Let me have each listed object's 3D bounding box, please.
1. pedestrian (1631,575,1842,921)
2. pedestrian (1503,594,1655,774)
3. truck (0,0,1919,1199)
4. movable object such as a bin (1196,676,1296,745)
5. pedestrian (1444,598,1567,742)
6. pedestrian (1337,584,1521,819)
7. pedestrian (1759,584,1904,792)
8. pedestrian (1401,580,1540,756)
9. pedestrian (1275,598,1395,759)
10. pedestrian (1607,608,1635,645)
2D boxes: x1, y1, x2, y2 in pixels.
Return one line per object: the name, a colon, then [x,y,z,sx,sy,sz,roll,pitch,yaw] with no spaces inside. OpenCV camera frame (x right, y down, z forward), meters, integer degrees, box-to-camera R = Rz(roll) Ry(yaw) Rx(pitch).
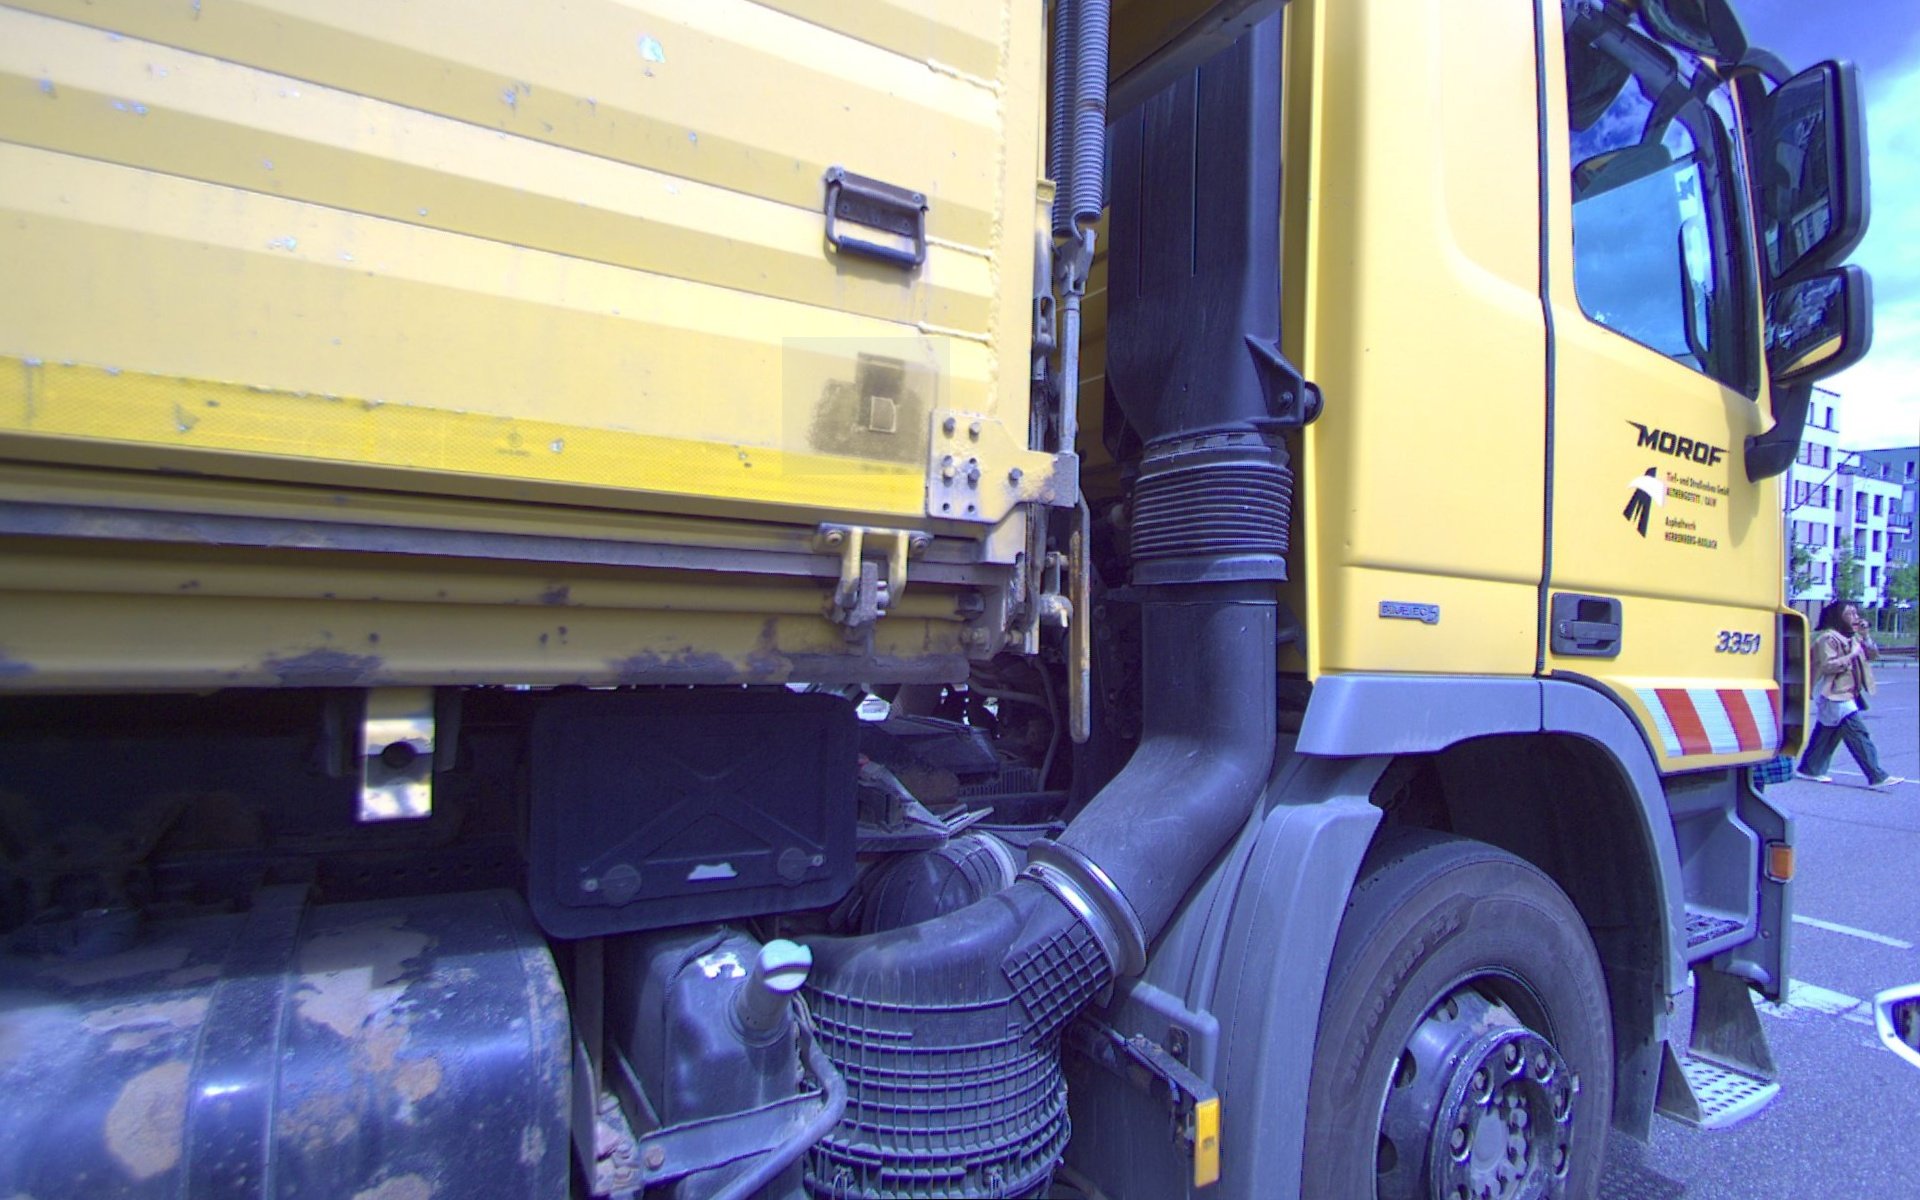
pedestrian: [4.223,0.725,5.466,0.814,1.693,0.729,1,0,45]
pedestrian: [5.974,0.766,9.720,0.918,1.628,0.908,1,0,-29]
truck: [-1.724,-0.233,1.638,7.916,3.439,3.033,1,0,-32]
movable object such as a bin: [3.265,1.244,11.486,0.768,0.671,0.792,1,0,-29]
pedestrian: [6.409,0.793,11.836,0.894,1.618,0.891,1,0,-20]
pedestrian: [3.615,0.727,7.789,0.870,1.670,0.954,1,0,-29]
pedestrian: [7.860,0.749,9.068,0.819,1.766,0.777,1,0,-33]
pedestrian: [5.532,0.702,10.914,0.918,1.796,0.998,1,0,-29]
pedestrian: [3.868,0.770,10.392,0.737,1.575,0.877,1,0,-29]
pedestrian: [28.402,1.140,43.164,0.628,1.536,0.827,1,0,-30]
